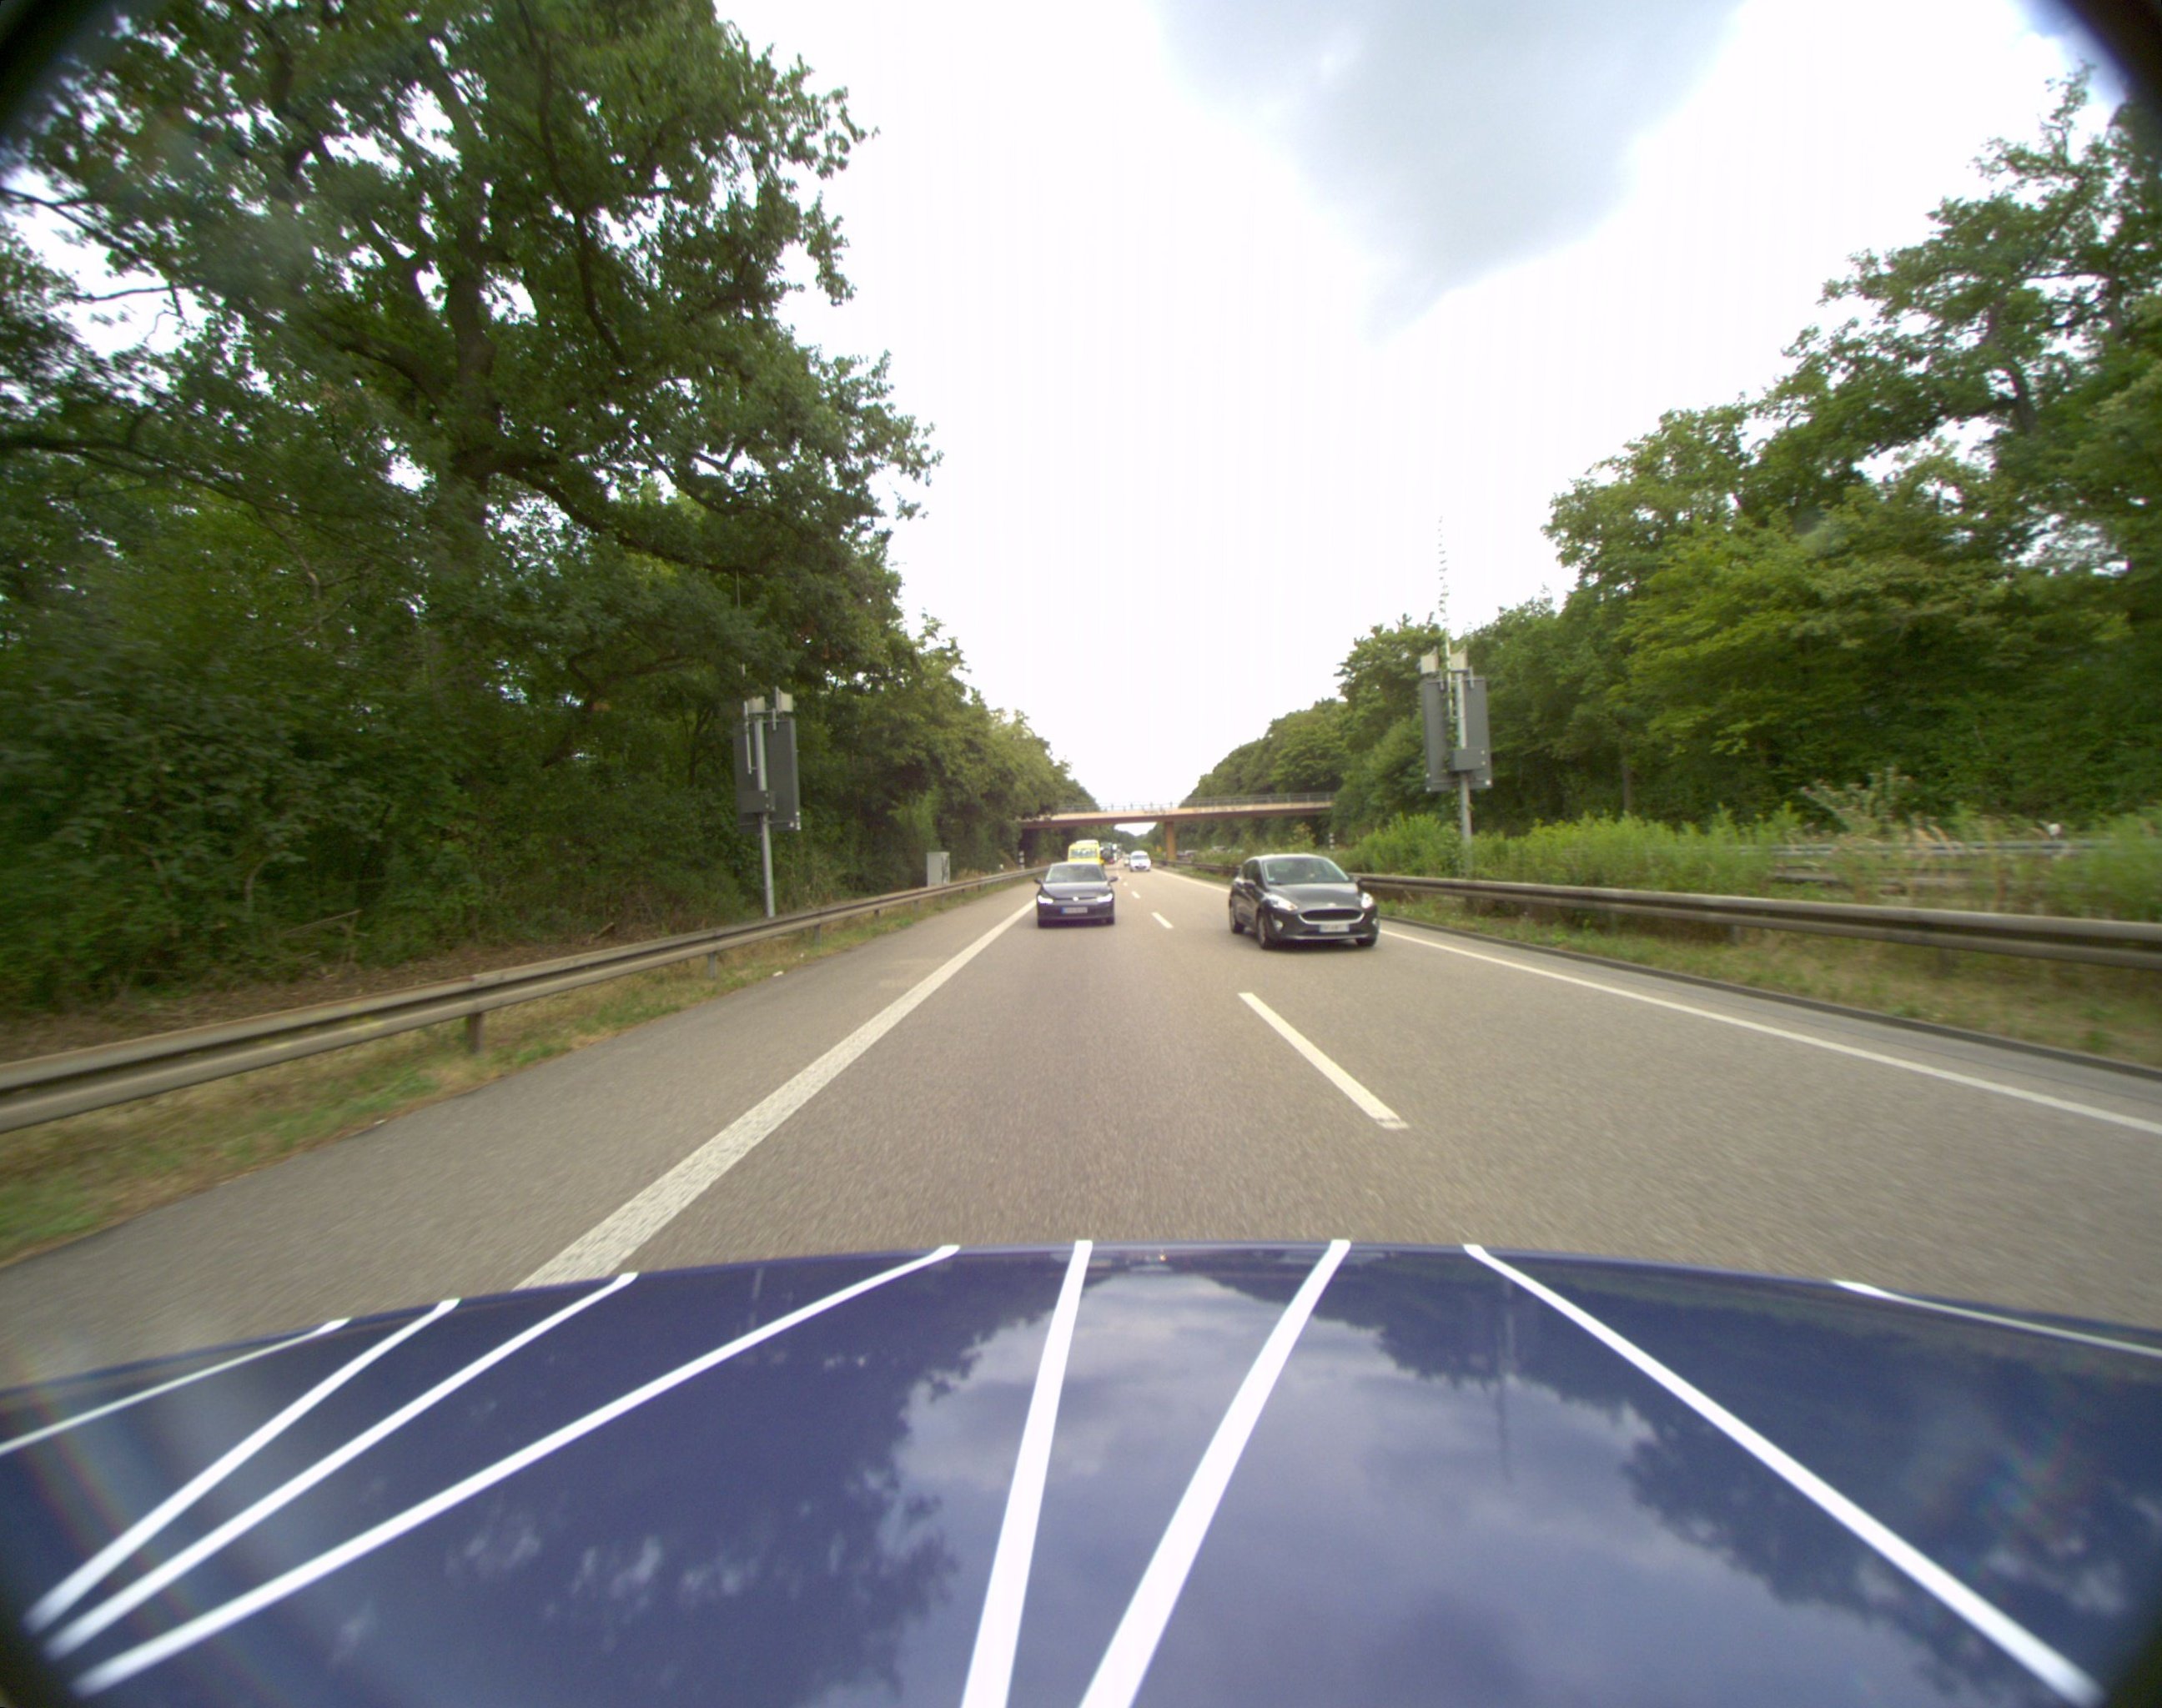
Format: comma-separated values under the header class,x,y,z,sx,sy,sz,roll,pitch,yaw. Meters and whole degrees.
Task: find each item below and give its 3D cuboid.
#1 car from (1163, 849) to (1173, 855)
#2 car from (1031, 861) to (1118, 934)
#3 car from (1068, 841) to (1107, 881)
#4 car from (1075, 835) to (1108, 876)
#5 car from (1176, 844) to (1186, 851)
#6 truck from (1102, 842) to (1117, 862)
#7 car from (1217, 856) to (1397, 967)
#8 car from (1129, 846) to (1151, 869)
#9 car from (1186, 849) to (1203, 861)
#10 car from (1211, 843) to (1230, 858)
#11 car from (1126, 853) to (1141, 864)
class,x,y,z,sx,sy,sz,roll,pitch,yaw
car,18.621,-0.425,163.041,1.693,1.372,4.936,-2,1,3
car,-0.066,0.935,18.373,1.800,1.398,4.639,-2,1,2
car,0.409,0.382,47.848,2.248,2.334,5.223,-2,1,0
car,0.719,0.067,54.859,2.207,2.732,6.166,-2,1,0
car,23.166,-1.481,175.716,1.898,1.677,4.640,-2,1,3
truck,5.214,-0.401,137.465,2.548,3.564,6.457,-2,1,2
car,3.575,0.812,12.971,1.830,1.449,4.640,-2,1,2
car,5.416,0.263,70.518,1.821,1.993,4.423,-2,1,2
car,15.886,0.190,106.465,1.807,1.581,4.181,-2,1,2
car,19.183,-0.538,104.609,1.800,2.002,5.302,-2,1,2
car,7.097,0.587,102.590,1.772,1.416,4.198,-2,1,2
